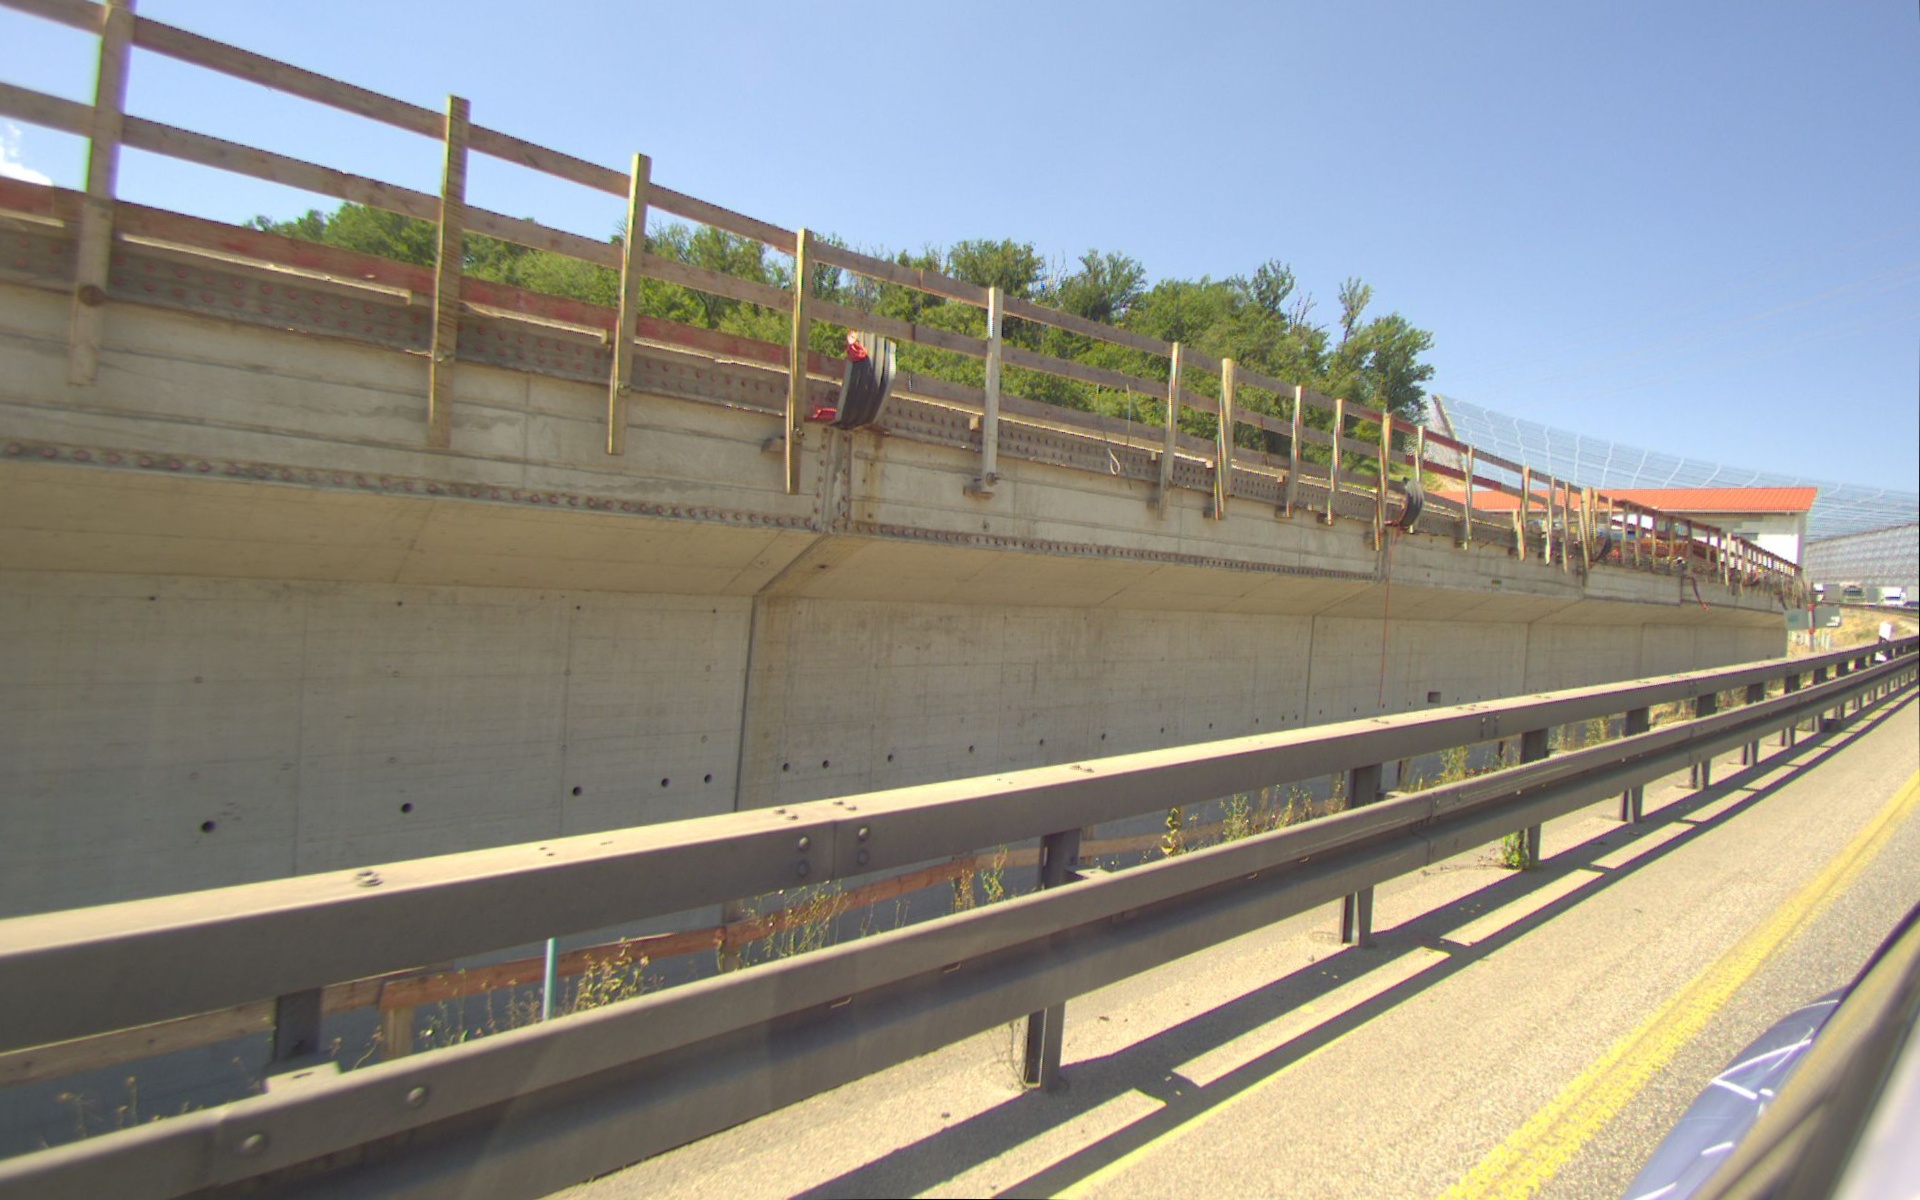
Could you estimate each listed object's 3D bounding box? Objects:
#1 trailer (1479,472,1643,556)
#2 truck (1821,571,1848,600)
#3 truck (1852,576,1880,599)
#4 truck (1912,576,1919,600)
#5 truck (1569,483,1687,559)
[{"bbox_3d":[32.761,-4.588,55.130,8.806,3.741,2.725,3,0,-21],"label":"trailer"},{"bbox_3d":[153.096,-2.592,177.258,3.027,4.865,8.820,0,1,38],"label":"truck"},{"bbox_3d":[154.505,-2.128,172.595,8.115,3.793,3.035,-1,1,-45],"label":"truck"},{"bbox_3d":[168.533,-2.066,176.406,3.027,4.107,8.558,0,1,38],"label":"truck"},{"bbox_3d":[37.640,-4.380,57.055,5.590,3.741,2.725,3,0,-21],"label":"truck"}]
